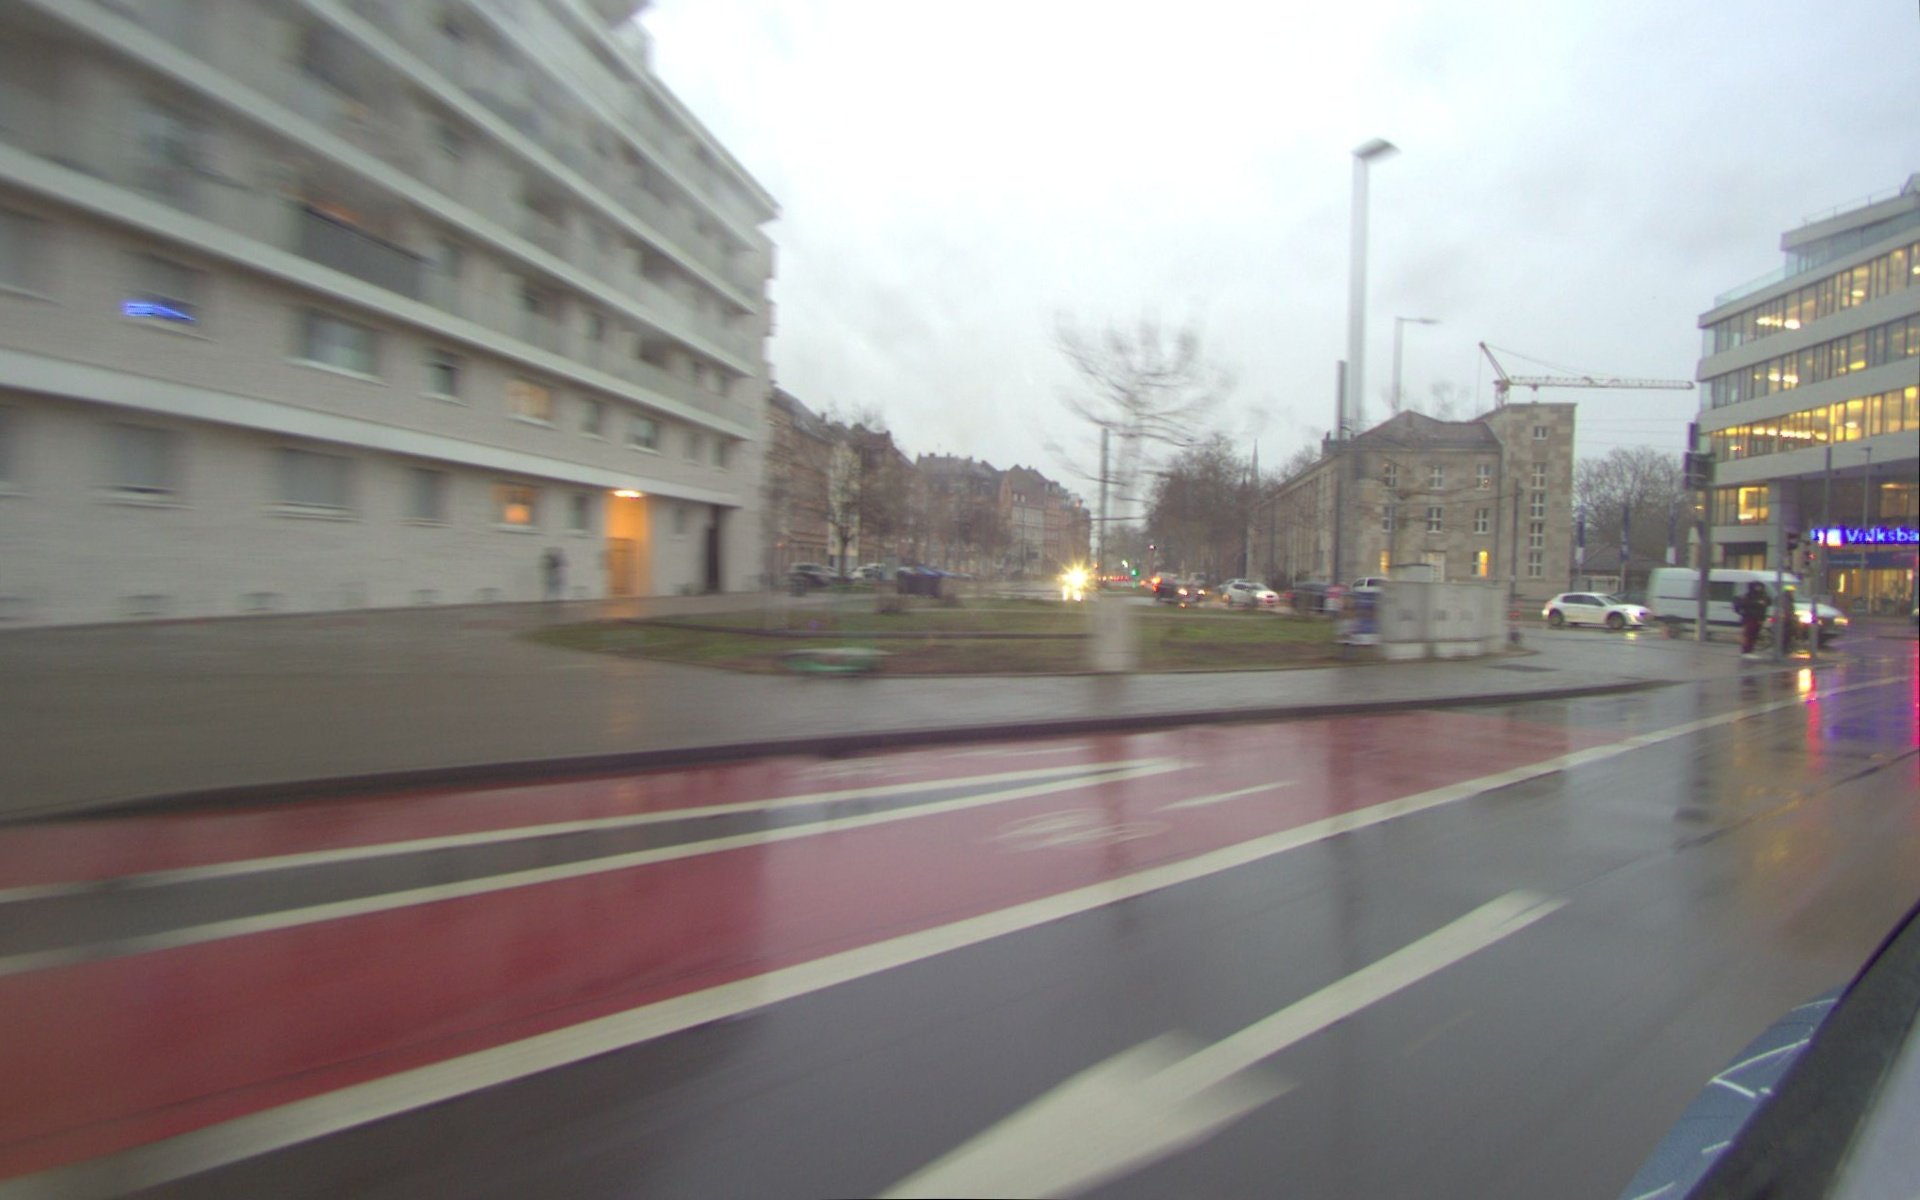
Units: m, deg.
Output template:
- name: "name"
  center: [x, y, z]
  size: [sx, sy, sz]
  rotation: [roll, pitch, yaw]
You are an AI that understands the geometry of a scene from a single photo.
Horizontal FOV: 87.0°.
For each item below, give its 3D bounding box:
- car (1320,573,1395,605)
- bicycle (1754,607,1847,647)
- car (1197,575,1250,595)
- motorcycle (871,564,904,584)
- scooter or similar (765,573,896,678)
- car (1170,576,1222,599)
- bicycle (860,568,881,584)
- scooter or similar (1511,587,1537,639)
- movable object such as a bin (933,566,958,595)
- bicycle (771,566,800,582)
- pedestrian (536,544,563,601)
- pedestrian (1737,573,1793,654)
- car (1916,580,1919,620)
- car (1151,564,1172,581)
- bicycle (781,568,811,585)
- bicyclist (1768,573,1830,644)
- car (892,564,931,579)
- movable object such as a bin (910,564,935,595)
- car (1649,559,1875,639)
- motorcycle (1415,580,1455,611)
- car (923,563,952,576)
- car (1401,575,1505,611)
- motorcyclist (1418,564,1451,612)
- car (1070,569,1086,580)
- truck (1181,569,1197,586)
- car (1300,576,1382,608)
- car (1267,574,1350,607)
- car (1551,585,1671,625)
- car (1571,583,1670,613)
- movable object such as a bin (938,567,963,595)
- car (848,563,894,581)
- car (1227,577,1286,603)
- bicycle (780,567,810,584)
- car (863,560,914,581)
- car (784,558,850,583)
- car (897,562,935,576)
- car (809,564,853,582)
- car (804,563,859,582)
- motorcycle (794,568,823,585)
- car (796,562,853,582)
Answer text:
- name: "car"
  center: [28.199, -0.817, 72.043]
  size: [1.912, 2.084, 5.675]
  rotation: [1, 2, -15]
- name: "bicycle"
  center: [22.991, 0.718, 27.727]
  size: [0.643, 0.985, 1.871]
  rotation: [1, 2, -19]
- name: "car"
  center: [21.889, -1.290, 84.256]
  size: [1.828, 1.504, 4.349]
  rotation: [1, 2, -28]
- name: "motorcycle"
  center: [-5.494, -1.961, 76.546]
  size: [2.310, 1.362, 0.886]
  rotation: [4, 2, -6]
- name: "scooter or similar"
  center: [-1.649, 0.293, 12.921]
  size: [1.526, 1.241, 0.671]
  rotation: [-1, 3, -29]
- name: "car"
  center: [15.993, -0.895, 68.821]
  size: [1.838, 1.493, 4.179]
  rotation: [0, 2, -11]
- name: "bicycle"
  center: [-6.408, -1.728, 72.702]
  size: [0.532, 1.031, 1.888]
  rotation: [4, 2, 29]
- name: "scooter or similar"
  center: [13.753, 0.293, 24.667]
  size: [0.332, 1.221, 1.291]
  rotation: [2, 2, 37]
- name: "movable object such as a bin"
  center: [-0.777, -1.039, 53.781]
  size: [1.038, 1.529, 1.247]
  rotation: [2, 1, 15]
- name: "bicycle"
  center: [-11.321, -1.685, 65.663]
  size: [1.758, 0.943, 0.447]
  rotation: [3, 1, -15]
- name: "pedestrian"
  center: [-12.158, -0.806, 29.984]
  size: [0.707, 1.652, 0.634]
  rotation: [1, 1, -21]
- name: "pedestrian"
  center: [19.168, 0.308, 24.103]
  size: [0.763, 1.901, 0.634]
  rotation: [2, 1, 8]
- name: "car"
  center: [43.540, 0.082, 42.471]
  size: [1.889, 1.740, 4.621]
  rotation: [1, 2, -17]
- name: "car"
  center: [24.006, -3.289, 120.503]
  size: [1.871, 1.894, 4.958]
  rotation: [0, 2, 5]
- name: "bicycle"
  center: [-10.070, -1.455, 62.227]
  size: [1.758, 0.943, 0.447]
  rotation: [3, 1, -15]
- name: "bicyclist"
  center: [23.064, 0.228, 27.829]
  size: [0.776, 1.914, 0.991]
  rotation: [1, 1, -19]
- name: "car"
  center: [-4.785, -2.838, 100.288]
  size: [3.538, 1.387, 1.622]
  rotation: [1, 2, -16]
- name: "movable object such as a bin"
  center: [-1.980, -1.115, 54.138]
  size: [1.038, 1.595, 1.135]
  rotation: [2, 1, 15]
- name: "car"
  center: [27.289, -0.144, 34.766]
  size: [2.196, 2.493, 5.683]
  rotation: [0, 2, -22]
- name: "motorcycle"
  center: [19.051, -0.203, 40.634]
  size: [0.475, 1.198, 2.409]
  rotation: [1, 2, 1]
- name: "car"
  center: [-2.666, -3.576, 119.078]
  size: [3.120, 1.446, 1.431]
  rotation: [1, 1, -12]
- name: "car"
  center: [24.107, -0.358, 49.649]
  size: [1.789, 1.589, 4.370]
  rotation: [1, 2, -26]
- name: "motorcyclist"
  center: [19.086, -0.494, 40.741]
  size: [0.870, 1.905, 0.921]
  rotation: [1, 1, 2]
- name: "car"
  center: [15.287, -3.328, 131.278]
  size: [1.725, 1.387, 3.604]
  rotation: [2, 2, 11]
- name: "truck"
  center: [28.428, -2.773, 125.704]
  size: [1.810, 2.069, 3.987]
  rotation: [2, 2, 12]
- name: "car"
  center: [20.937, -0.461, 55.753]
  size: [1.642, 1.619, 4.231]
  rotation: [1, 2, -26]
- name: "car"
  center: [18.410, -0.527, 53.615]
  size: [1.864, 1.619, 4.014]
  rotation: [1, 2, -26]
- name: "car"
  center: [27.551, 0.160, 42.945]
  size: [1.729, 1.481, 3.923]
  rotation: [-1, 3, -30]
- name: "car"
  center: [36.400, -0.154, 55.919]
  size: [1.595, 1.462, 4.433]
  rotation: [1, 2, -23]
- name: "movable object such as a bin"
  center: [-0.508, -1.037, 55.284]
  size: [1.038, 1.450, 1.220]
  rotation: [2, 1, 15]
- name: "car"
  center: [-7.522, -2.383, 85.612]
  size: [3.610, 1.417, 1.525]
  rotation: [1, 2, -20]
- name: "car"
  center: [18.082, -0.630, 61.819]
  size: [1.656, 1.448, 3.353]
  rotation: [0, 2, -25]
- name: "bicycle"
  center: [-10.216, -1.534, 62.747]
  size: [1.758, 0.943, 0.447]
  rotation: [3, 1, -15]
- name: "car"
  center: [-6.461, -2.705, 91.458]
  size: [4.254, 1.790, 1.785]
  rotation: [1, 2, -21]
- name: "car"
  center: [-9.633, -1.963, 68.126]
  size: [4.069, 1.589, 1.746]
  rotation: [1, 2, -21]
- name: "car"
  center: [-4.574, -3.266, 105.520]
  size: [3.538, 1.387, 1.621]
  rotation: [1, 2, -22]
- name: "car"
  center: [-10.259, -2.178, 80.540]
  size: [3.231, 1.322, 1.525]
  rotation: [1, 2, -20]
- name: "car"
  center: [-9.284, -2.000, 73.150]
  size: [3.611, 1.322, 1.672]
  rotation: [1, 2, -21]
- name: "motorcycle"
  center: [-9.640, -1.484, 64.373]
  size: [1.757, 0.943, 0.514]
  rotation: [3, 1, -20]
- name: "car"
  center: [-9.449, -1.951, 70.646]
  size: [3.611, 1.322, 1.746]
  rotation: [1, 2, -21]
